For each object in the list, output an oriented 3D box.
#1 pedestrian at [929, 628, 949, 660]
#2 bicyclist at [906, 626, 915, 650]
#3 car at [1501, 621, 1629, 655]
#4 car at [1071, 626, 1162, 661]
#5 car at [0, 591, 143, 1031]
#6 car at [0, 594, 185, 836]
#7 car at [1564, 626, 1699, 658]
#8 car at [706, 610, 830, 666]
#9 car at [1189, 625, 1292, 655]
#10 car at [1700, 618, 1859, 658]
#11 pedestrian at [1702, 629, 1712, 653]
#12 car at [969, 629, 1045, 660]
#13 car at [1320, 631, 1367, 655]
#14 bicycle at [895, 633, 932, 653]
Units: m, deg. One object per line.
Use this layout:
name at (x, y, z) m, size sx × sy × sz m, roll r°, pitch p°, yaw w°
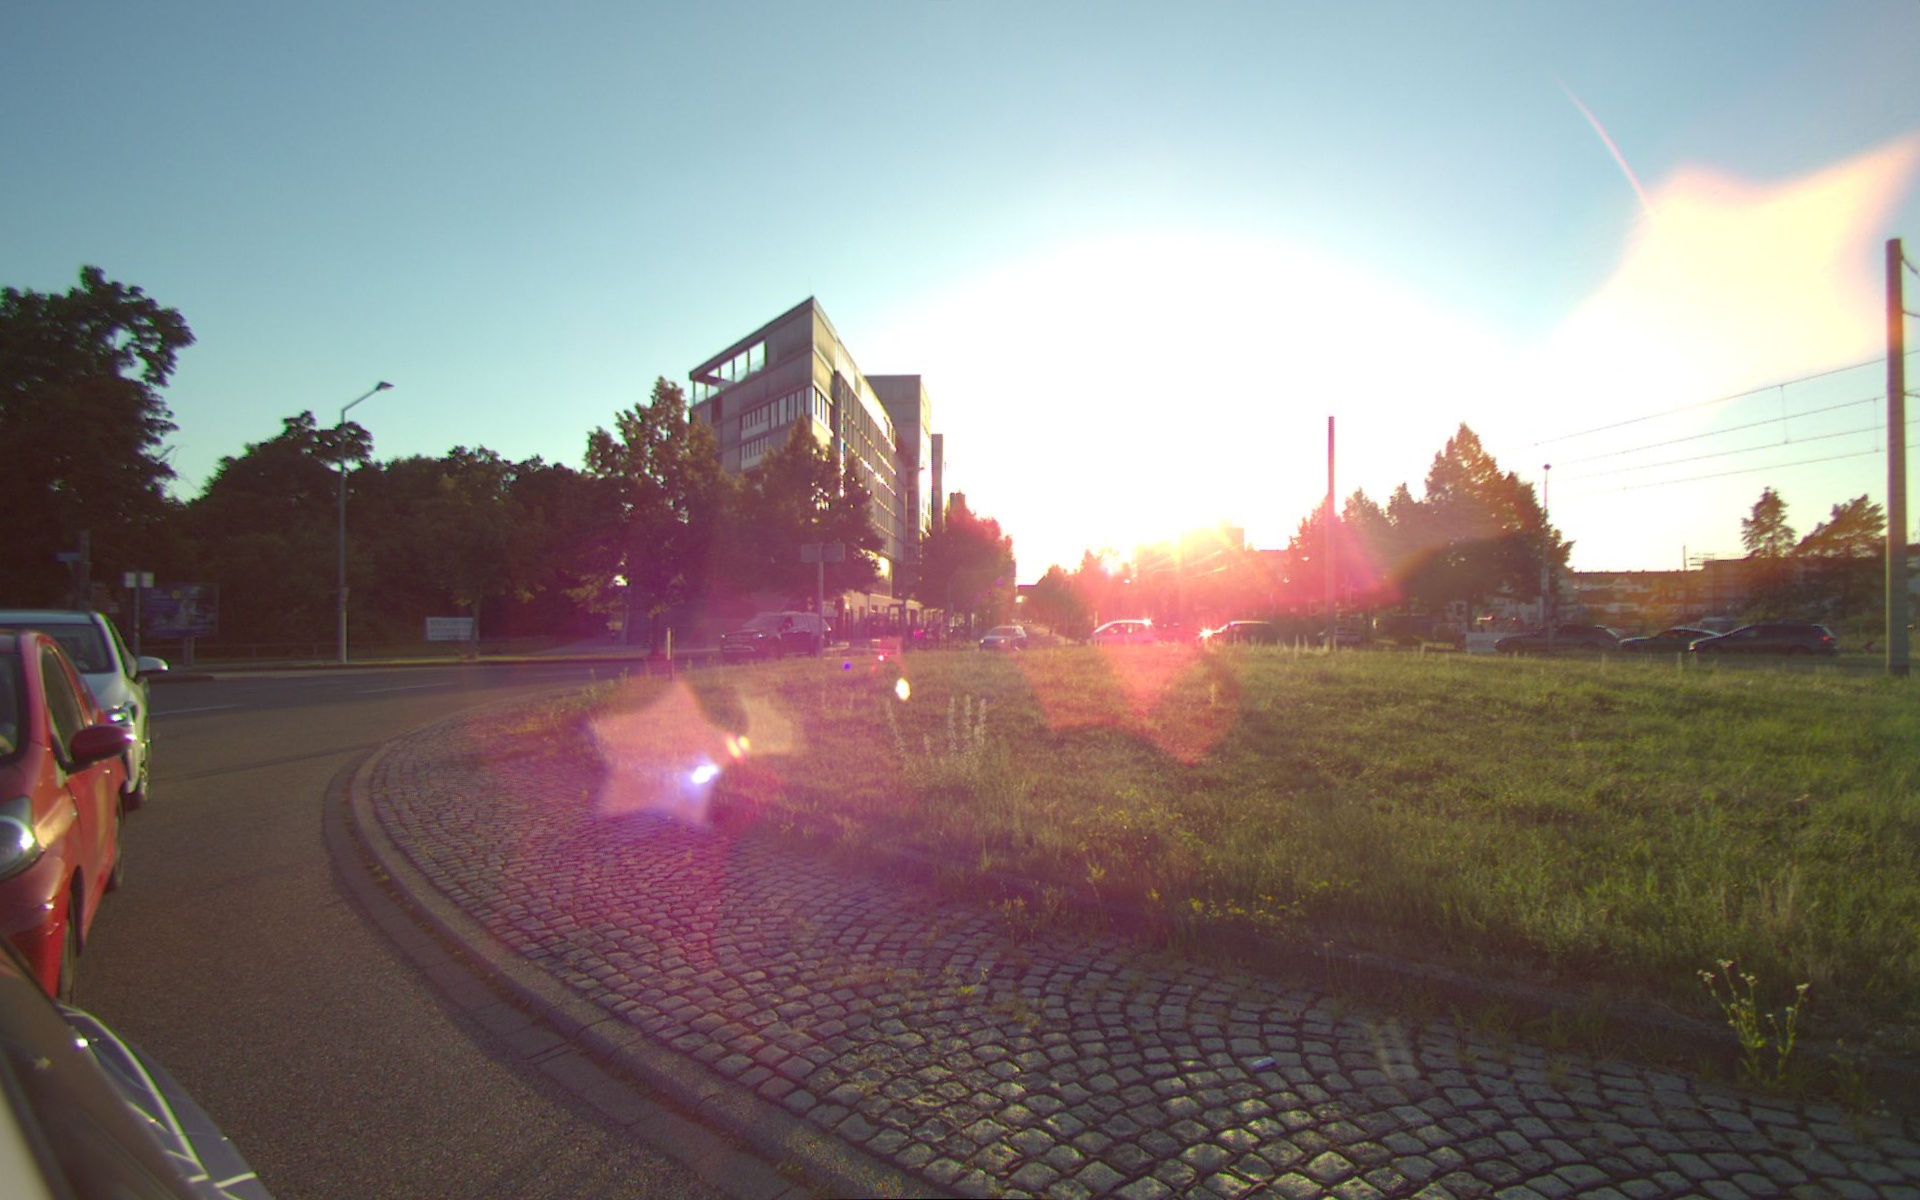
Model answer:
pedestrian at (-1.358, 2.792, 64.471) m, size 0.995 × 2.029 × 0.768 m, roll -1°, pitch 0°, yaw 29°
bicyclist at (-3.077, 2.355, 62.992) m, size 0.602 × 1.451 × 0.692 m, roll 0°, pitch -1°, yaw -2°
car at (25.725, 1.598, 43.110) m, size 4.351 × 1.386 × 1.972 m, roll -1°, pitch -2°, yaw 42°
car at (7.338, 2.043, 47.717) m, size 3.831 × 1.592 × 1.958 m, roll 0°, pitch -1°, yaw -7°
car at (-4.843, 0.723, 4.524) m, size 1.662 × 1.431 × 4.009 m, roll 1°, pitch -2°, yaw -36°
car at (-7.809, 0.812, 8.405) m, size 1.967 × 1.618 × 4.209 m, roll 1°, pitch -1°, yaw -35°
car at (30.730, 1.878, 46.438) m, size 1.968 × 1.382 × 4.744 m, roll 1°, pitch -2°, yaw -38°
car at (-6.751, 1.364, 36.237) m, size 1.985 × 1.827 × 5.270 m, roll -2°, pitch -3°, yaw 20°
car at (13.280, 1.893, 48.071) m, size 4.325 × 1.386 × 1.999 m, roll 0°, pitch -1°, yaw 2°
car at (30.628, 1.387, 37.925) m, size 1.969 × 1.386 × 4.389 m, roll 1°, pitch -2°, yaw -42°
pedestrian at (41.891, 2.300, 56.718) m, size 0.397 × 1.318 × 0.423 m, roll -1°, pitch -2°, yaw 41°
car at (2.581, 2.348, 54.374) m, size 1.831 × 1.571 × 4.509 m, roll -1°, pitch -2°, yaw 38°
car at (28.821, 3.203, 76.184) m, size 1.974 × 1.719 × 4.709 m, roll 0°, pitch -1°, yaw 4°
bicycle at (-2.896, 2.680, 62.970) m, size 2.315 × 1.254 × 0.742 m, roll 0°, pitch -1°, yaw 0°
